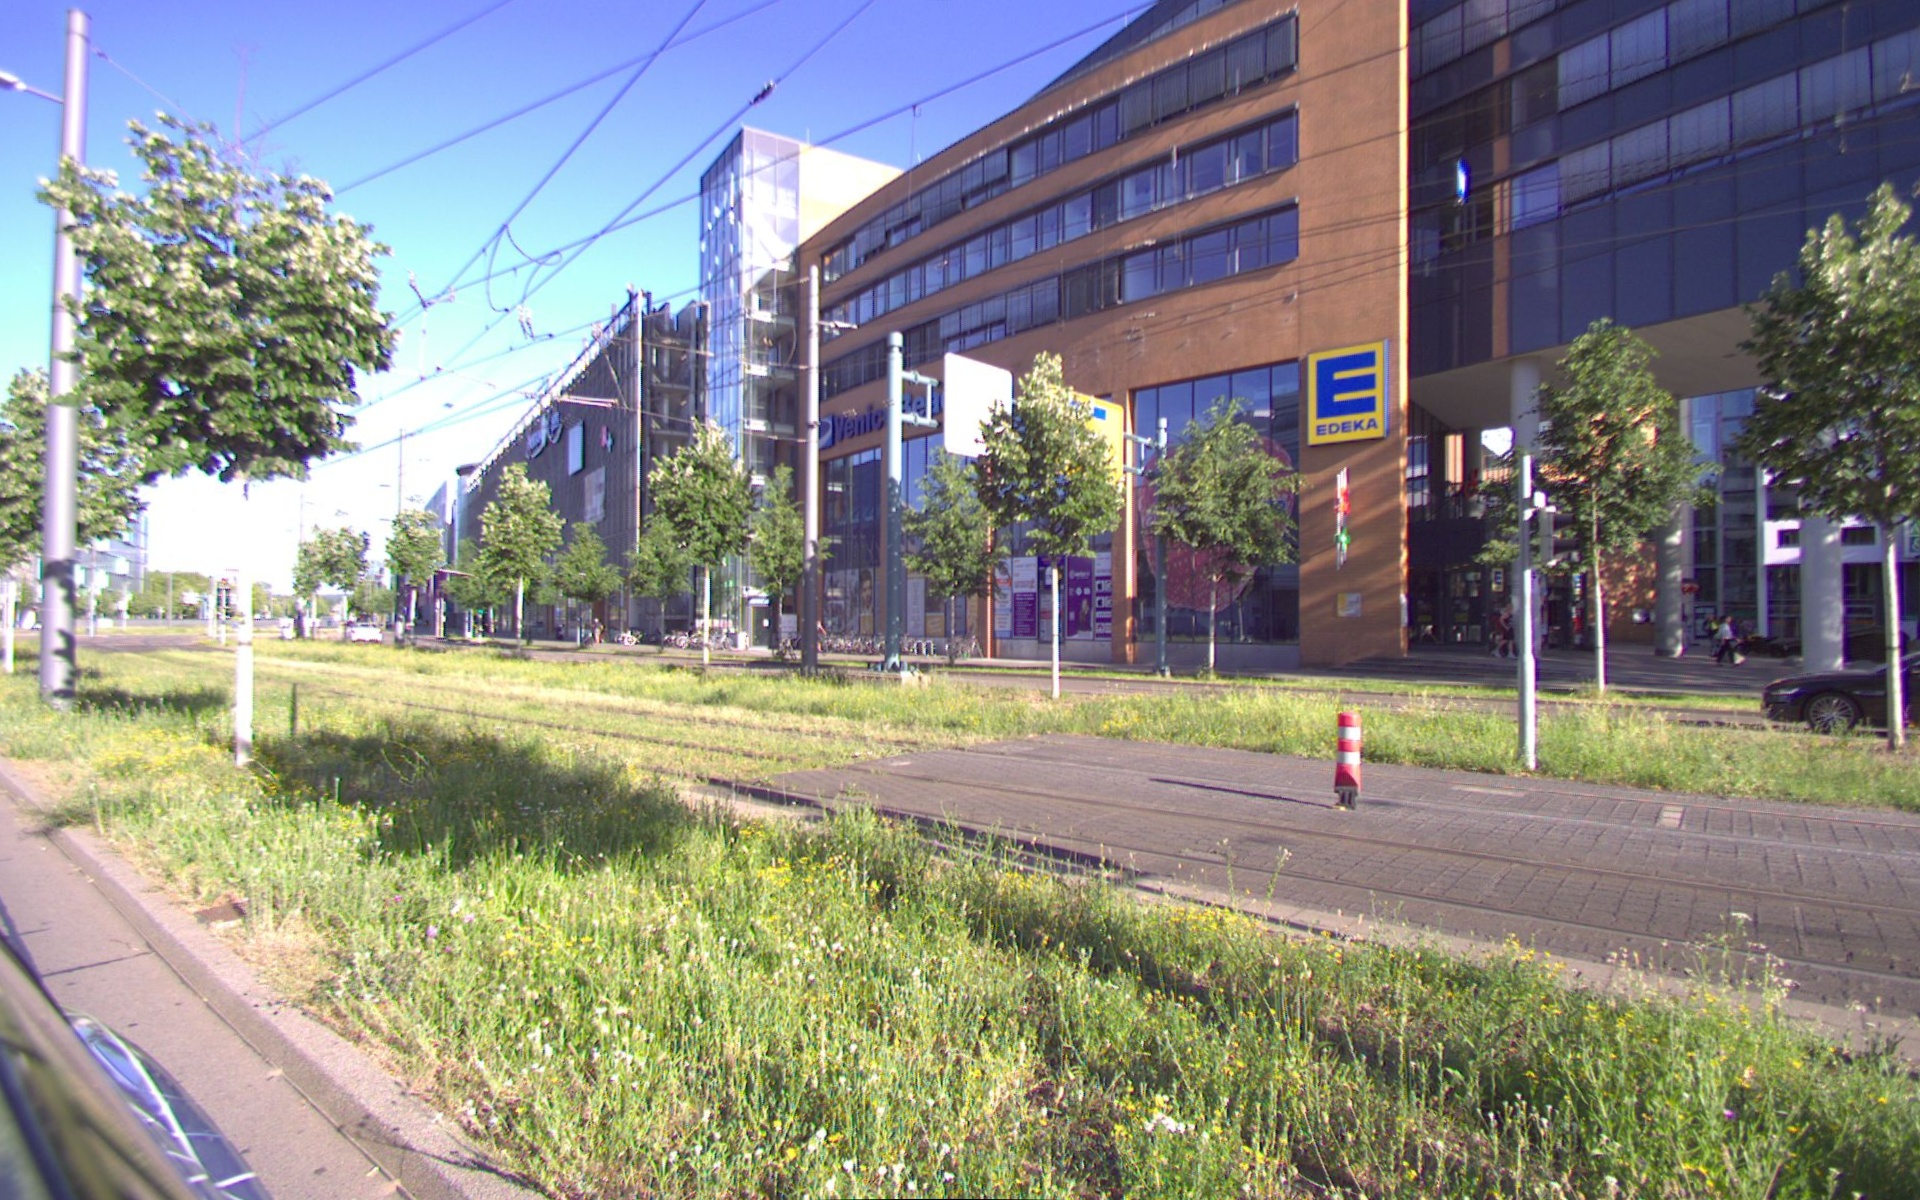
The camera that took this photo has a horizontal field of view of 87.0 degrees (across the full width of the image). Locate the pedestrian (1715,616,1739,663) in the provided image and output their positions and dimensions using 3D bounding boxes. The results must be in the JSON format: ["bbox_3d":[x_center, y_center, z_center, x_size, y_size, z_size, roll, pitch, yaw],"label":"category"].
[{"bbox_3d":[24.569,1.247,32.407,0.572,1.491,0.447,-1,-1,41],"label":"pedestrian"}]

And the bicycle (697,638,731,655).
[{"bbox_3d":[-13.708,2.590,56.372,1.741,0.933,0.566,1,-2,-33],"label":"bicycle"}]

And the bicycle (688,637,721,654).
[{"bbox_3d":[-14.529,2.606,57.576,1.741,0.933,0.566,1,-2,-33],"label":"bicycle"}]

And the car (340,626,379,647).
[{"bbox_3d":[-39.642,2.417,66.764,1.782,1.338,4.415,2,-2,-36],"label":"car"}]

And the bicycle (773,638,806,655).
[{"bbox_3d":[-9.452,2.576,56.033,1.741,0.933,0.566,1,-2,-33],"label":"bicycle"}]

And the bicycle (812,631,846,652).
[{"bbox_3d":[-6.609,2.101,51.225,1.744,1.057,0.491,1,-2,-42],"label":"bicycle"}]

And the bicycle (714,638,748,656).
[{"bbox_3d":[-12.436,2.568,55.000,1.741,0.933,0.566,1,-2,-33],"label":"bicycle"}]

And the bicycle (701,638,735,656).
[{"bbox_3d":[-13.338,2.583,55.726,1.741,0.933,0.566,1,-2,-33],"label":"bicycle"}]

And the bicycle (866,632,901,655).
[{"bbox_3d":[-3.617,2.050,48.027,1.744,1.057,0.491,1,-2,-42],"label":"bicycle"}]

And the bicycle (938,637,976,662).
[{"bbox_3d":[-0.122,2.130,43.796,1.744,1.057,0.491,1,-2,-42],"label":"bicycle"}]

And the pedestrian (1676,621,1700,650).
[{"bbox_3d":[38.098,1.851,52.980,1.038,1.491,0.660,0,0,-32],"label":"pedestrian"}]

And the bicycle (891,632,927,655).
[{"bbox_3d":[-2.371,2.031,47.305,1.744,1.057,0.491,1,-2,-42],"label":"bicycle"}]

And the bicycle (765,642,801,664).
[{"bbox_3d":[-7.347,2.182,41.948,1.771,0.875,0.458,-1,-2,42],"label":"bicycle"}]

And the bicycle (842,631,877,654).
[{"bbox_3d":[-4.917,2.072,49.466,1.744,1.057,0.491,1,-2,-42],"label":"bicycle"}]

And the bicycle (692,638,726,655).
[{"bbox_3d":[-14.146,2.598,57.004,1.741,0.933,0.566,1,-2,-33],"label":"bicycle"}]

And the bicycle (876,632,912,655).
[{"bbox_3d":[-3.094,2.041,47.476,1.744,1.057,0.491,1,-2,-42],"label":"bicycle"}]

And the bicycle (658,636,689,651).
[{"bbox_3d":[-17.583,2.663,62.055,1.741,0.933,0.492,1,-2,-33],"label":"bicycle"}]

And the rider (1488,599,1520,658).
[{"bbox_3d":[16.924,0.875,31.455,0.712,1.816,0.710,-1,-2,42],"label":"rider"}]

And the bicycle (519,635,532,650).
[{"bbox_3d":[-27.410,2.655,63.827,0.380,0.930,1.775,1,-2,-36],"label":"bicycle"}]

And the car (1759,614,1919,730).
[{"bbox_3d":[14.638,1.118,14.706,4.732,1.608,1.974,0,-6,38],"label":"car"}]

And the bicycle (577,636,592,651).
[{"bbox_3d":[-22.721,2.632,61.206,0.380,0.875,1.775,1,-2,-36],"label":"bicycle"}]

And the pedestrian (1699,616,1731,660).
[{"bbox_3d":[30.313,1.502,40.636,0.778,1.720,0.810,0,0,-32],"label":"pedestrian"}]

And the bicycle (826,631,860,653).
[{"bbox_3d":[-5.830,2.088,50.525,1.744,1.057,0.491,1,-2,-42],"label":"bicycle"}]

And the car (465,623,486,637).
[{"bbox_3d":[-56.759,3.514,118.492,1.559,1.541,3.759,0,0,-37],"label":"car"}]

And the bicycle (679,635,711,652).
[{"bbox_3d":[-15.561,2.548,59.419,1.741,0.933,0.492,1,-2,-33],"label":"bicycle"}]

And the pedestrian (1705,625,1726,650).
[{"bbox_3d":[39.418,1.969,52.823,0.627,1.287,0.664,0,0,-32],"label":"pedestrian"}]

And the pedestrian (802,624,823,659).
[{"bbox_3d":[-7.173,2.020,49.175,0.736,1.681,0.676,1,-2,-43],"label":"pedestrian"}]

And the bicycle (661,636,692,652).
[{"bbox_3d":[-17.205,2.656,61.462,1.741,0.933,0.566,1,-2,-33],"label":"bicycle"}]

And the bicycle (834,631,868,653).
[{"bbox_3d":[-5.371,2.080,49.970,1.744,1.057,0.491,1,-2,-42],"label":"bicycle"}]

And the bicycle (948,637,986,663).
[{"bbox_3d":[0.301,2.123,43.326,1.744,1.057,0.491,1,-2,-42],"label":"bicycle"}]

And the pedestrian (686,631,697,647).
[{"bbox_3d":[-17.921,2.585,67.602,0.619,1.063,0.450,1,-2,-36],"label":"pedestrian"}]

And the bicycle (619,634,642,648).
[{"bbox_3d":[-22.008,2.746,67.571,1.377,0.933,0.463,1,-2,-33],"label":"bicycle"}]

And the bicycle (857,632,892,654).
[{"bbox_3d":[-4.091,2.058,48.503,1.744,1.057,0.491,1,-2,-42],"label":"bicycle"}]

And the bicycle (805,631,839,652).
[{"bbox_3d":[-7.032,2.108,51.679,1.744,1.057,0.491,1,-2,-42],"label":"bicycle"}]

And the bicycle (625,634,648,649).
[{"bbox_3d":[-21.217,2.730,66.359,1.377,0.933,0.463,1,-2,-33],"label":"bicycle"}]

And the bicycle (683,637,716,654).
[{"bbox_3d":[-14.929,2.613,58.110,1.741,0.933,0.566,1,-2,-33],"label":"bicycle"}]
